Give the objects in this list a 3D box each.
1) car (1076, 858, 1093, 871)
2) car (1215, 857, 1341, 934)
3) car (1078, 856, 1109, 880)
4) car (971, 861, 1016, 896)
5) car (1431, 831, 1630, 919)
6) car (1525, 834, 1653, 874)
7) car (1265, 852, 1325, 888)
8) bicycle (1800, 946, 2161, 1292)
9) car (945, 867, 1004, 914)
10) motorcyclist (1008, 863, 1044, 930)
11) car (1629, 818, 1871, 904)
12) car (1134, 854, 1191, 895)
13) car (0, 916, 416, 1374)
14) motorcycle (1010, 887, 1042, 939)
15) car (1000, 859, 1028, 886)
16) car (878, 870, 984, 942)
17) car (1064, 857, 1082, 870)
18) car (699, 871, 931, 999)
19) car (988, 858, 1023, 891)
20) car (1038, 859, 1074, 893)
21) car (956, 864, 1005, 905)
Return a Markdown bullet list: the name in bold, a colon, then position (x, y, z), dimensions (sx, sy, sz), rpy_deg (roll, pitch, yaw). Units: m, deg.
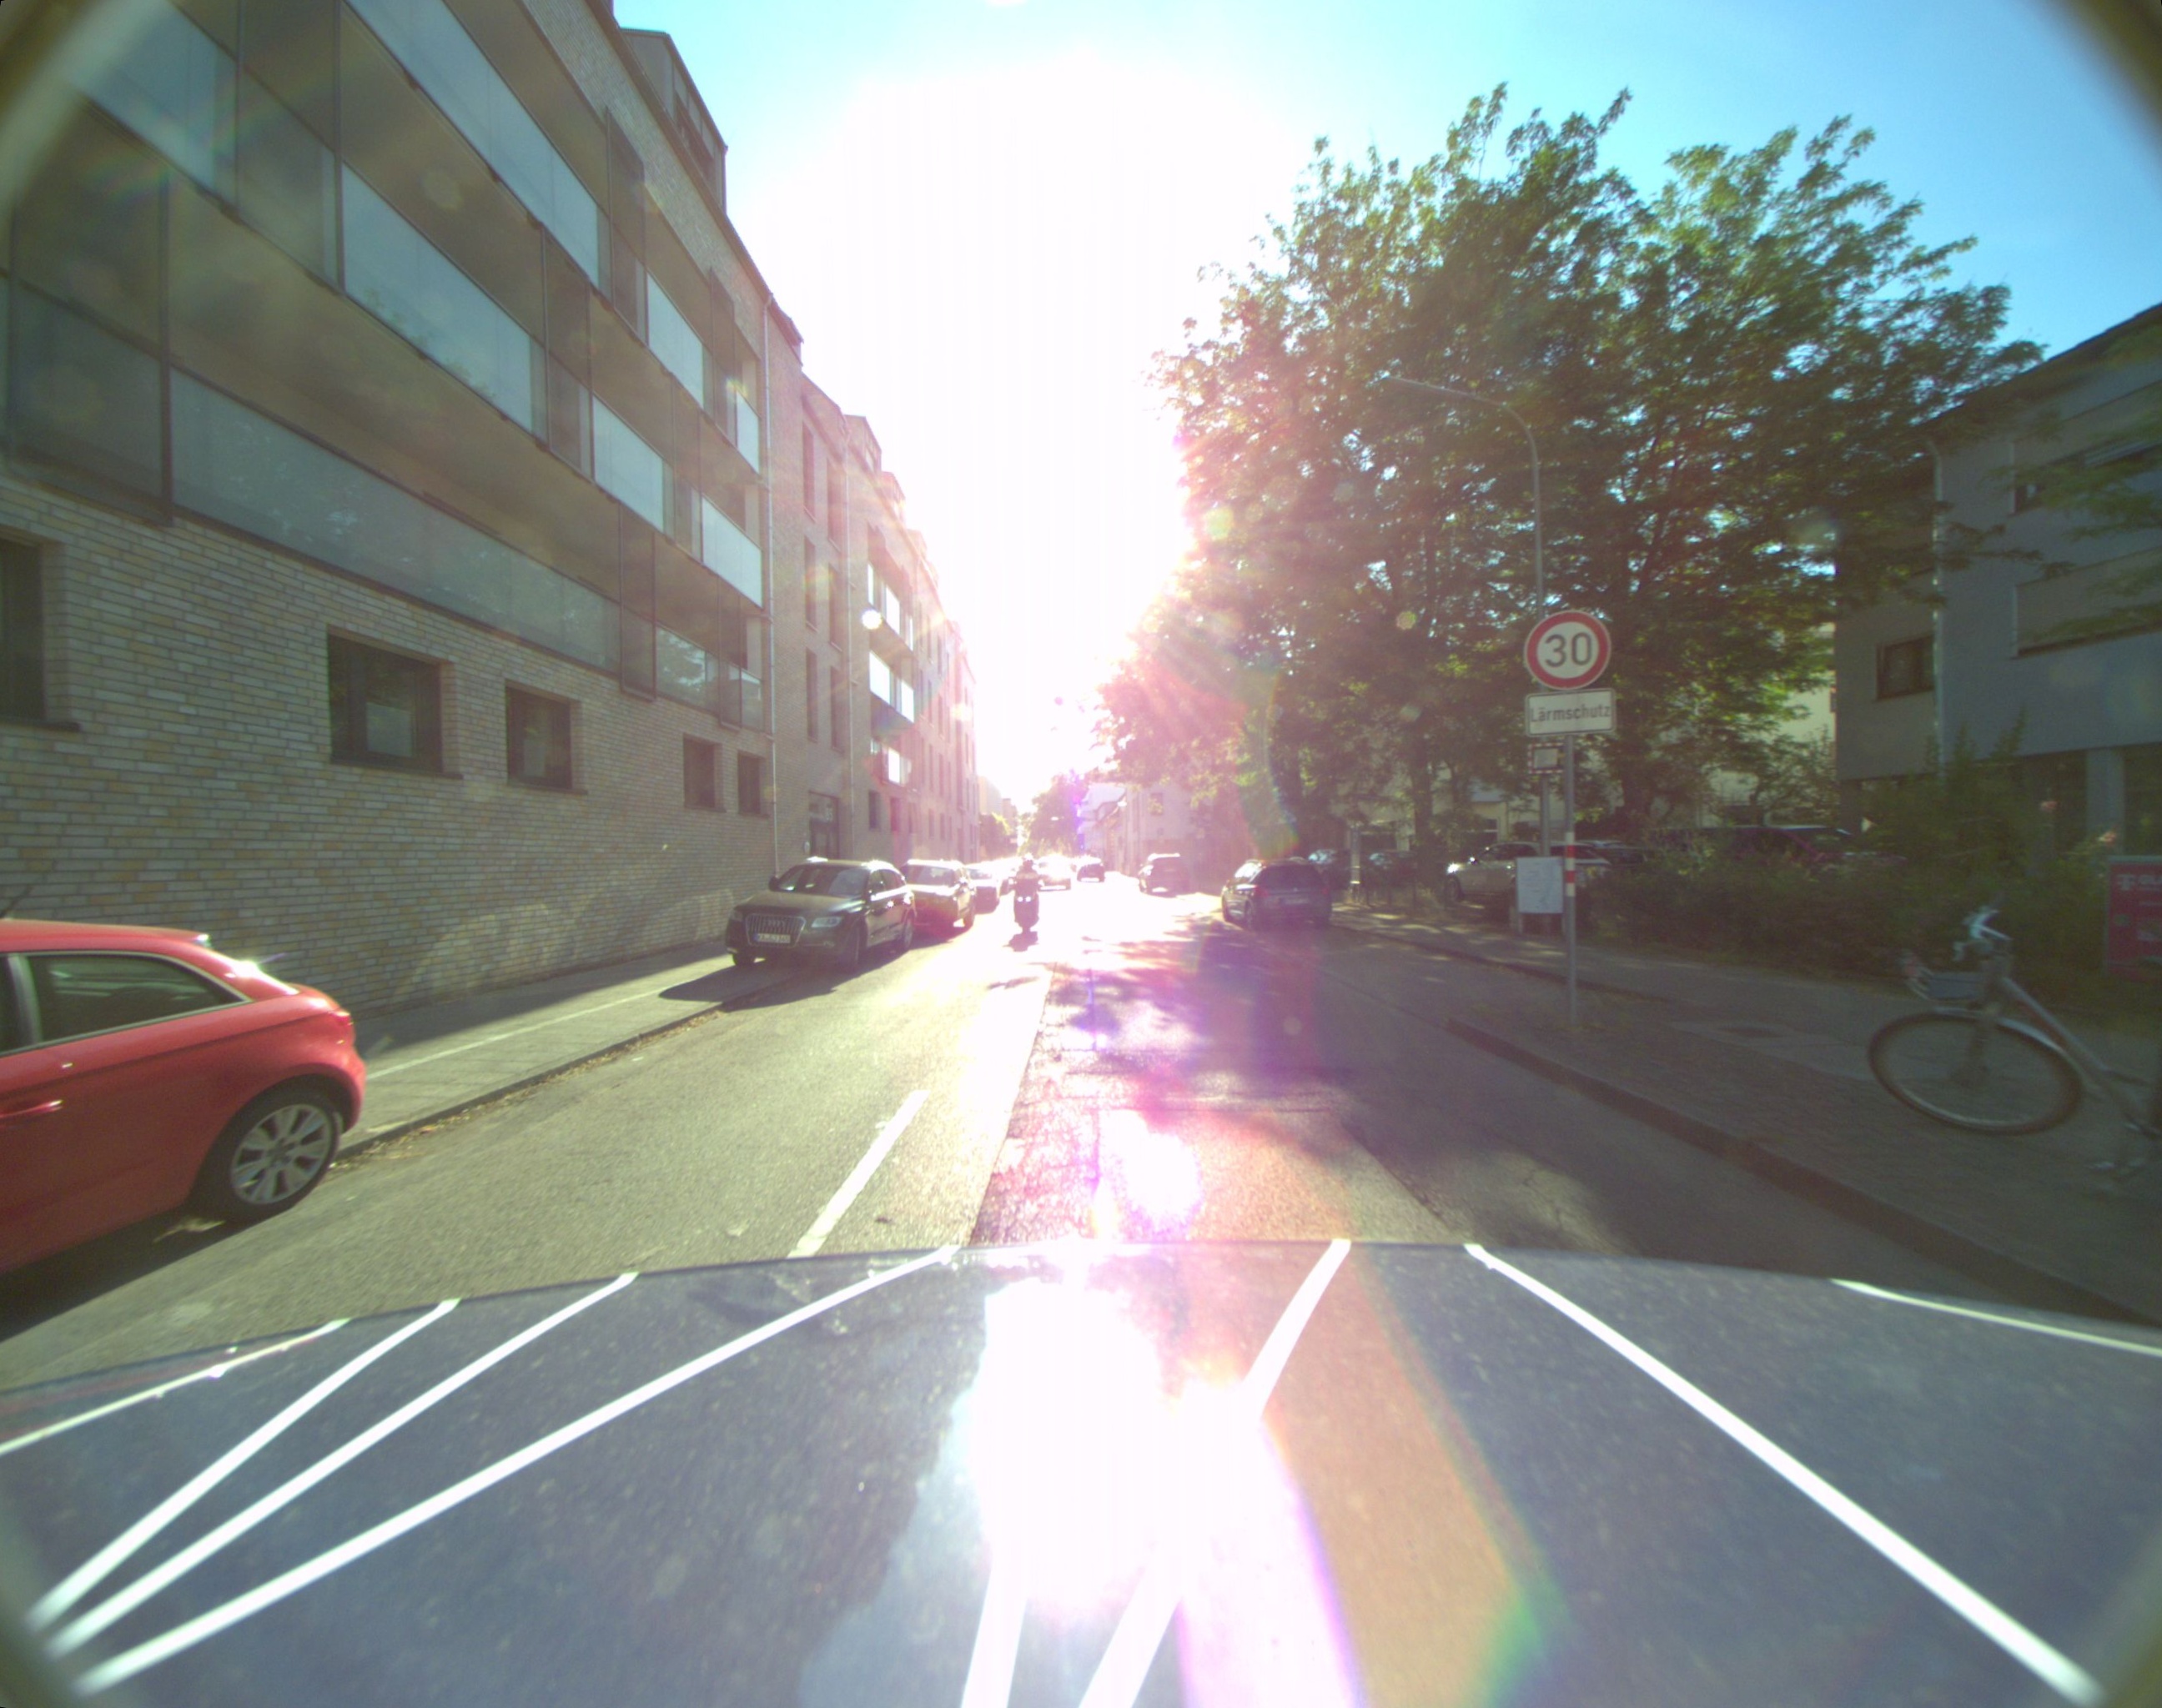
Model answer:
- **car**: position (0.392, 1.324, 99.424), dimensions (1.999, 1.613, 3.999), rpy_deg (-1, 0, -2)
- **car**: position (4.321, 0.839, 17.300), dimensions (1.701, 1.483, 3.999), rpy_deg (-3, 0, -1)
- **car**: position (0.815, 0.925, 52.635), dimensions (1.944, 1.566, 4.318), rpy_deg (-1, 0, -2)
- **car**: position (-4.250, 1.165, 37.682), dimensions (1.730, 1.520, 4.625), rpy_deg (2, 0, -1)
- **car**: position (11.012, 0.493, 19.137), dimensions (1.848, 1.884, 4.905), rpy_deg (-1, 0, -4)
- **car**: position (21.724, 0.001, 32.810), dimensions (1.943, 1.551, 5.186), rpy_deg (-2, 0, -1)
- **car**: position (8.858, 0.621, 31.762), dimensions (1.524, 1.400, 3.639), rpy_deg (-1, 0, 1)
- **bicycle**: position (4.061, 0.988, 2.988), dimensions (0.705, 0.997, 1.942), rpy_deg (-2, 0, 4)
- **car**: position (-3.730, 1.235, 27.193), dimensions (1.701, 1.459, 4.718), rpy_deg (0, 0, -4)
- **motorcyclist**: position (-1.194, 0.914, 16.585), dimensions (0.717, 1.424, 0.746), rpy_deg (-1, 0, -1)
- **car**: position (16.983, 0.172, 19.629), dimensions (2.025, 1.936, 4.319), rpy_deg (-1, 0, -12)
- **car**: position (3.791, 0.907, 36.149), dimensions (1.937, 1.695, 5.099), rpy_deg (-4, 0, -1)
- **car**: position (-4.583, 1.068, 2.178), dimensions (1.717, 1.396, 4.073), rpy_deg (3, 0, 0)
- **motorcycle**: position (-1.192, 1.264, 16.786), dimensions (0.598, 1.004, 1.821), rpy_deg (-1, 0, -1)
- **car**: position (-4.219, 1.131, 48.245), dimensions (1.655, 1.582, 4.341), rpy_deg (1, 0, -4)
- **car**: position (-3.564, 1.193, 18.824), dimensions (1.821, 1.458, 4.269), rpy_deg (-1, 0, -1)
- **car**: position (-0.895, 1.039, 86.540), dimensions (1.812, 1.458, 3.998), rpy_deg (-1, 0, -4)
- **car**: position (-4.145, 1.170, 12.839), dimensions (1.894, 1.702, 4.776), rpy_deg (-1, -1, 5)
- **car**: position (-4.196, 1.131, 42.996), dimensions (1.672, 1.723, 4.838), rpy_deg (-1, 0, -2)
- **car**: position (-1.274, 1.101, 39.344), dimensions (1.708, 1.569, 3.915), rpy_deg (-3, 0, -2)
- **car**: position (-4.150, 1.230, 31.824), dimensions (1.668, 1.507, 4.218), rpy_deg (1, 0, -3)
